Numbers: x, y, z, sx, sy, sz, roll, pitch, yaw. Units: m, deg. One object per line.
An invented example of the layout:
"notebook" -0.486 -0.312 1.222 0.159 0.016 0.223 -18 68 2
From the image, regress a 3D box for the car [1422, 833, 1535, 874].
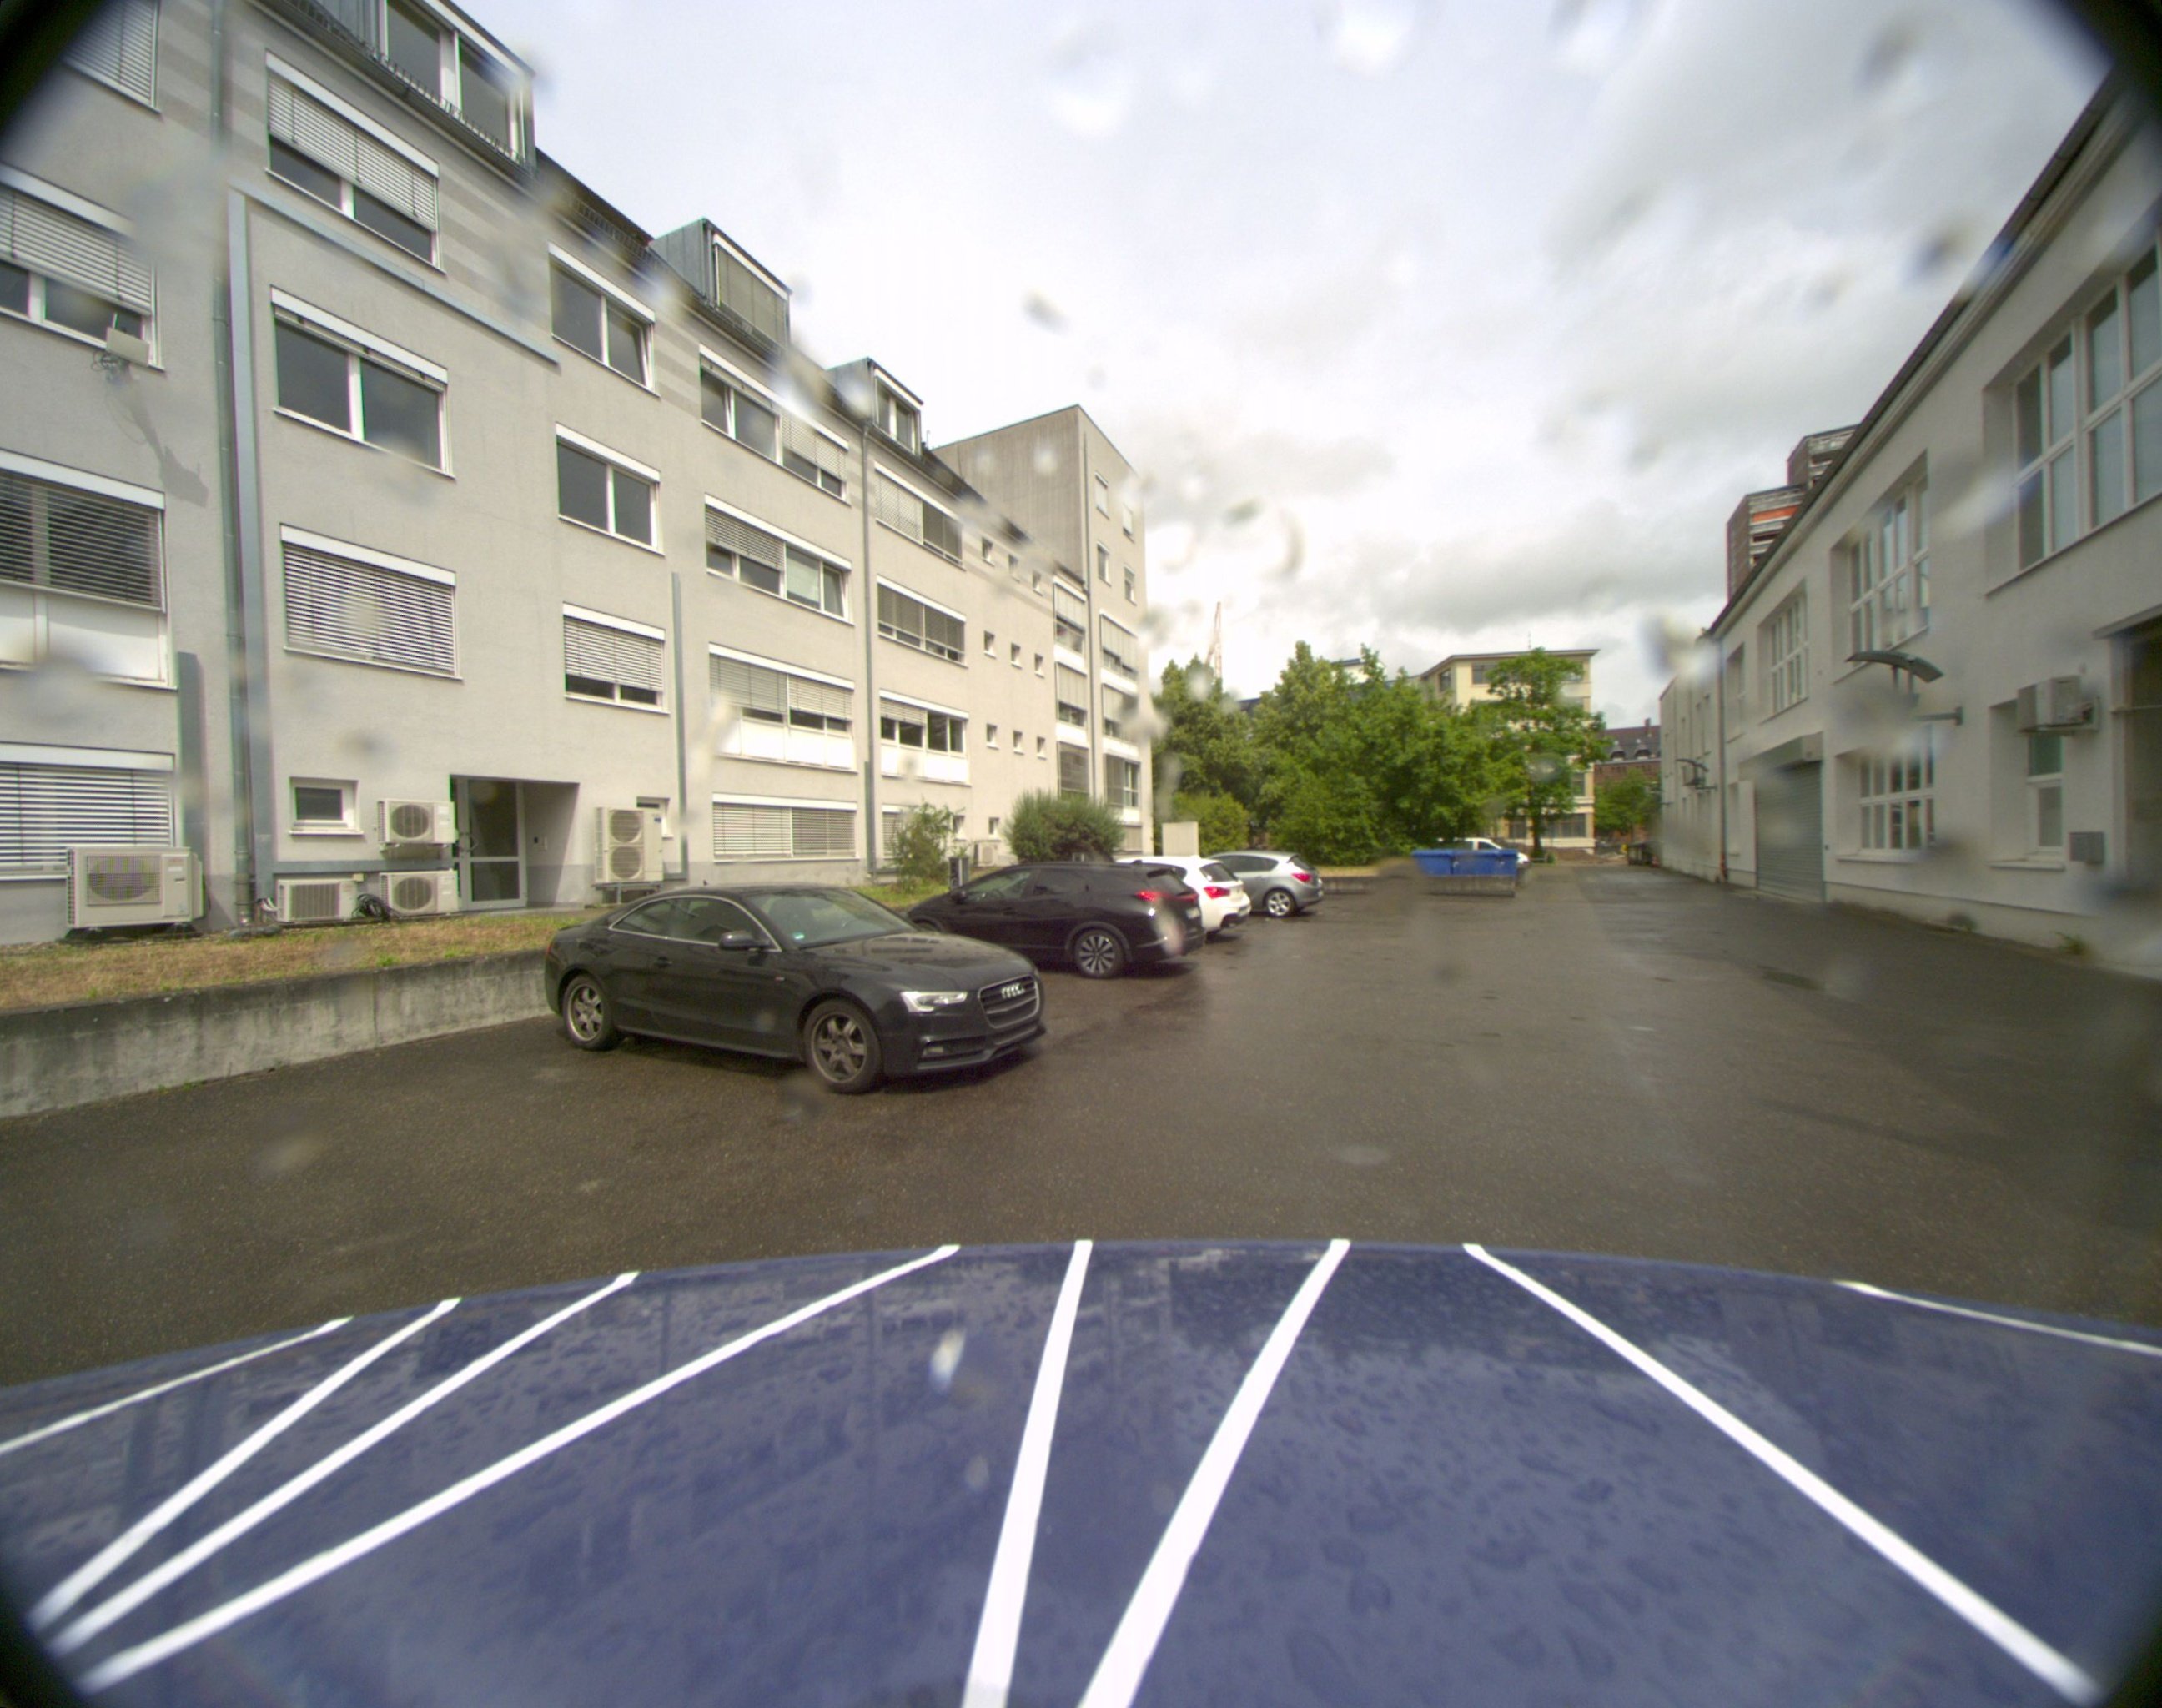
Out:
"car" 20.586 -0.007 39.461 4.939 2.002 2.004 -2 0 35

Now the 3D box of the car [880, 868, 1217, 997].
"car" -0.447 0.933 10.453 4.173 1.393 1.942 0 1 25

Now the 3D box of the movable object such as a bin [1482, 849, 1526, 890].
"movable object such as a bin" 14.064 0.506 25.239 1.175 1.309 1.058 -3 -1 31

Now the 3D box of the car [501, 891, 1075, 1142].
"car" -2.424 1.040 6.220 4.357 1.341 1.863 -1 0 25

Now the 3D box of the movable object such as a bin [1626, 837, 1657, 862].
"movable object such as a bin" 34.717 -0.293 47.102 1.360 1.462 1.468 -3 -1 31

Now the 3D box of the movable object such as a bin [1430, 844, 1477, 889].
"movable object such as a bin" 12.644 0.421 25.766 1.276 1.474 1.104 -3 -1 31

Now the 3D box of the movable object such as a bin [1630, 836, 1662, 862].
"movable object such as a bin" 33.115 -0.286 44.544 1.360 1.462 1.368 -3 -1 31

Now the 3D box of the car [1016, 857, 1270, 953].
"car" 1.081 0.799 13.549 4.100 1.447 1.836 0 1 28

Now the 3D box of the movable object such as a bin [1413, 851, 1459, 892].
"movable object such as a bin" 11.527 0.559 24.681 1.230 1.310 1.058 0 0 31

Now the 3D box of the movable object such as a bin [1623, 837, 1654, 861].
"movable object such as a bin" 35.407 -0.293 48.268 1.410 1.462 1.564 -3 -1 31

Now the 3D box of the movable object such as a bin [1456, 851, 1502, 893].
"movable object such as a bin" 12.603 0.558 24.035 1.230 1.310 1.058 0 0 31

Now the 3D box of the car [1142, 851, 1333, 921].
"car" 3.660 0.703 17.911 4.082 1.450 1.671 0 2 28

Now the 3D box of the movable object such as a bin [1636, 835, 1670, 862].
"movable object such as a bin" 32.329 -0.289 43.003 1.360 1.462 1.368 -3 -1 31
